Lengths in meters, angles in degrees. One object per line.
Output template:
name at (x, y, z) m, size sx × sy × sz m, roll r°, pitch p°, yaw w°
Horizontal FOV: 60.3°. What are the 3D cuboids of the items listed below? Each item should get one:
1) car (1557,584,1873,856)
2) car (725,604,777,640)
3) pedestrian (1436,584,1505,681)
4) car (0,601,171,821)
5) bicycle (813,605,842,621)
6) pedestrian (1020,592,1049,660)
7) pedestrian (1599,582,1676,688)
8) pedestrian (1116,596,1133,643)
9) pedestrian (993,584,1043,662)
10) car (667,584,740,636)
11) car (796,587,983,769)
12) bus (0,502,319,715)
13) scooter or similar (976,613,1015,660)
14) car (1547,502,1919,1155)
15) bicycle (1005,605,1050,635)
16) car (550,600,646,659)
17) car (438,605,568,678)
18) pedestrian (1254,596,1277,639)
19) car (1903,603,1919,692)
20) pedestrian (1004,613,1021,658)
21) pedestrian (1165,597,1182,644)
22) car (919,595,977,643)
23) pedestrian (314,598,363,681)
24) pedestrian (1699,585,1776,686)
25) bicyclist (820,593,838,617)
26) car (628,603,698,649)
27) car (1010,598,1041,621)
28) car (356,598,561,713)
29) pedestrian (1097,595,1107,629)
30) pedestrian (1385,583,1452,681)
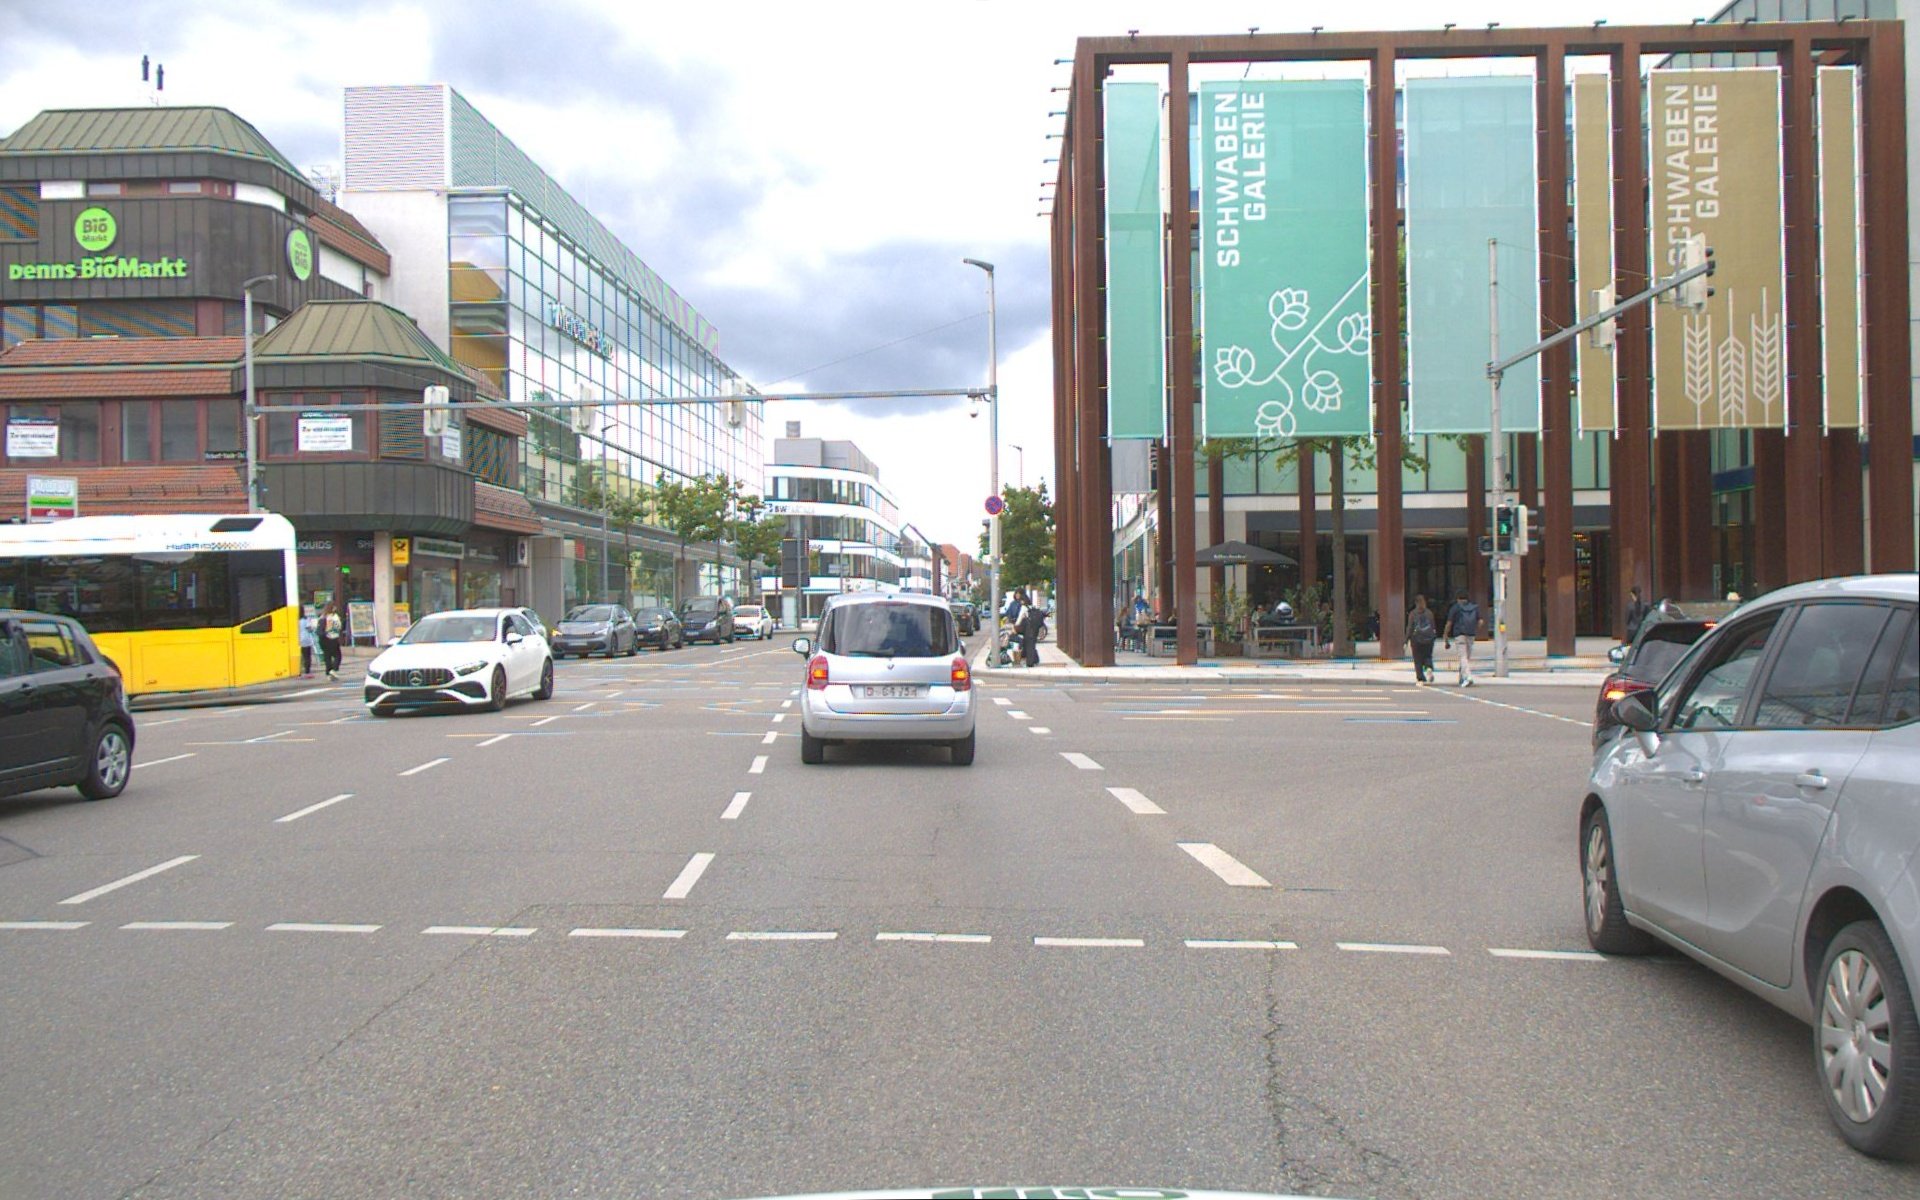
car at (5.889, 0.742, 12.733) m, size 1.815 × 1.637 × 4.855 m, roll 1°, pitch 0°, yaw 27°
car at (-9.223, 0.972, 73.184) m, size 1.625 × 1.491 × 4.001 m, roll -2°, pitch 0°, yaw 2°
pedestrian at (9.153, 0.572, 29.684) m, size 0.861 × 1.711 × 1.120 m, roll -1°, pitch 0°, yaw -1°
car at (-7.400, 0.782, 11.672) m, size 1.708 × 1.484 × 3.819 m, roll -1°, pitch 0°, yaw 2°
bicycle at (-9.437, 0.905, 117.628) m, size 0.993 × 1.036 × 3.105 m, roll 2°, pitch 0°, yaw -25°
pedestrian at (1.602, 0.555, 35.431) m, size 0.588 × 1.445 × 0.582 m, roll 0°, pitch 0°, yaw 4°
pedestrian at (11.783, 0.593, 28.803) m, size 0.861 × 1.798 × 1.120 m, roll -1°, pitch 0°, yaw -1°
pedestrian at (4.405, 0.513, 44.283) m, size 0.438 × 1.241 × 0.607 m, roll 0°, pitch 0°, yaw 4°
pedestrian at (1.276, 0.500, 36.198) m, size 0.855 × 1.675 × 0.678 m, roll 0°, pitch 0°, yaw 36°
car at (-10.071, 0.376, 65.301) m, size 1.826 × 1.943 × 5.115 m, roll -2°, pitch 0°, yaw 3°
car at (-0.633, 0.689, 16.587) m, size 1.635 × 1.581 × 3.642 m, roll 1°, pitch 0°, yaw 0°
bus at (-17.421, 0.264, 27.613) m, size 12.144 × 3.385 × 2.965 m, roll -3°, pitch 0°, yaw -31°
scooter or similar at (0.766, 0.781, 35.728) m, size 0.622 × 0.978 × 0.618 m, roll 0°, pitch 0°, yaw 35°
car at (3.562, 0.624, 5.919) m, size 1.703 × 1.730 × 4.383 m, roll 1°, pitch 0°, yaw 5°
bicycle at (2.357, 0.699, 57.822) m, size 1.527 × 1.010 × 0.753 m, roll -1°, pitch 0°, yaw 5°
car at (-10.547, 0.814, 48.459) m, size 1.722 × 1.543 × 4.387 m, roll -2°, pitch 1°, yaw 1°
car at (-10.787, 0.933, 39.312) m, size 1.600 × 1.442 × 4.202 m, roll -2°, pitch 1°, yaw 4°
pedestrian at (8.911, 0.501, 48.275) m, size 0.504 × 1.229 × 0.795 m, roll 0°, pitch 1°, yaw 0°
car at (17.597, 0.789, 26.401) m, size 4.087 × 1.428 × 1.800 m, roll 0°, pitch 0°, yaw -1°
pedestrian at (1.129, 0.760, 35.413) m, size 0.354 × 0.940 × 0.455 m, roll 0°, pitch 0°, yaw 4°
pedestrian at (5.700, 0.543, 44.170) m, size 0.438 × 1.241 × 0.607 m, roll 0°, pitch 0°, yaw 6°
car at (-0.377, 0.638, 57.657) m, size 1.634 × 1.581 × 3.644 m, roll 1°, pitch 0°, yaw 5°
pedestrian at (-13.206, 0.833, 35.160) m, size 0.733 × 1.722 × 0.777 m, roll -1°, pitch 0°, yaw -3°
pedestrian at (14.158, 0.637, 30.152) m, size 0.861 × 1.798 × 1.120 m, roll -1°, pitch 0°, yaw -1°
bicyclist at (-9.282, 0.363, 117.329) m, size 0.993 × 1.689 × 0.925 m, roll 2°, pitch -1°, yaw -25°
car at (-10.028, 0.861, 56.069) m, size 1.667 × 1.468 × 4.000 m, roll 0°, pitch 0°, yaw 0°
car at (4.031, 0.569, 102.089) m, size 1.838 × 1.358 × 4.001 m, roll 2°, pitch 0°, yaw 2°
car at (-7.220, 0.743, 24.253) m, size 1.708 × 1.484 × 4.235 m, roll -1°, pitch 0°, yaw 0°
pedestrian at (6.689, 0.576, 77.801) m, size 0.418 × 1.576 × 0.481 m, roll -1°, pitch 0°, yaw 0°
pedestrian at (8.210, 0.555, 29.639) m, size 0.861 × 1.711 × 1.120 m, roll -1°, pitch 0°, yaw -1°
